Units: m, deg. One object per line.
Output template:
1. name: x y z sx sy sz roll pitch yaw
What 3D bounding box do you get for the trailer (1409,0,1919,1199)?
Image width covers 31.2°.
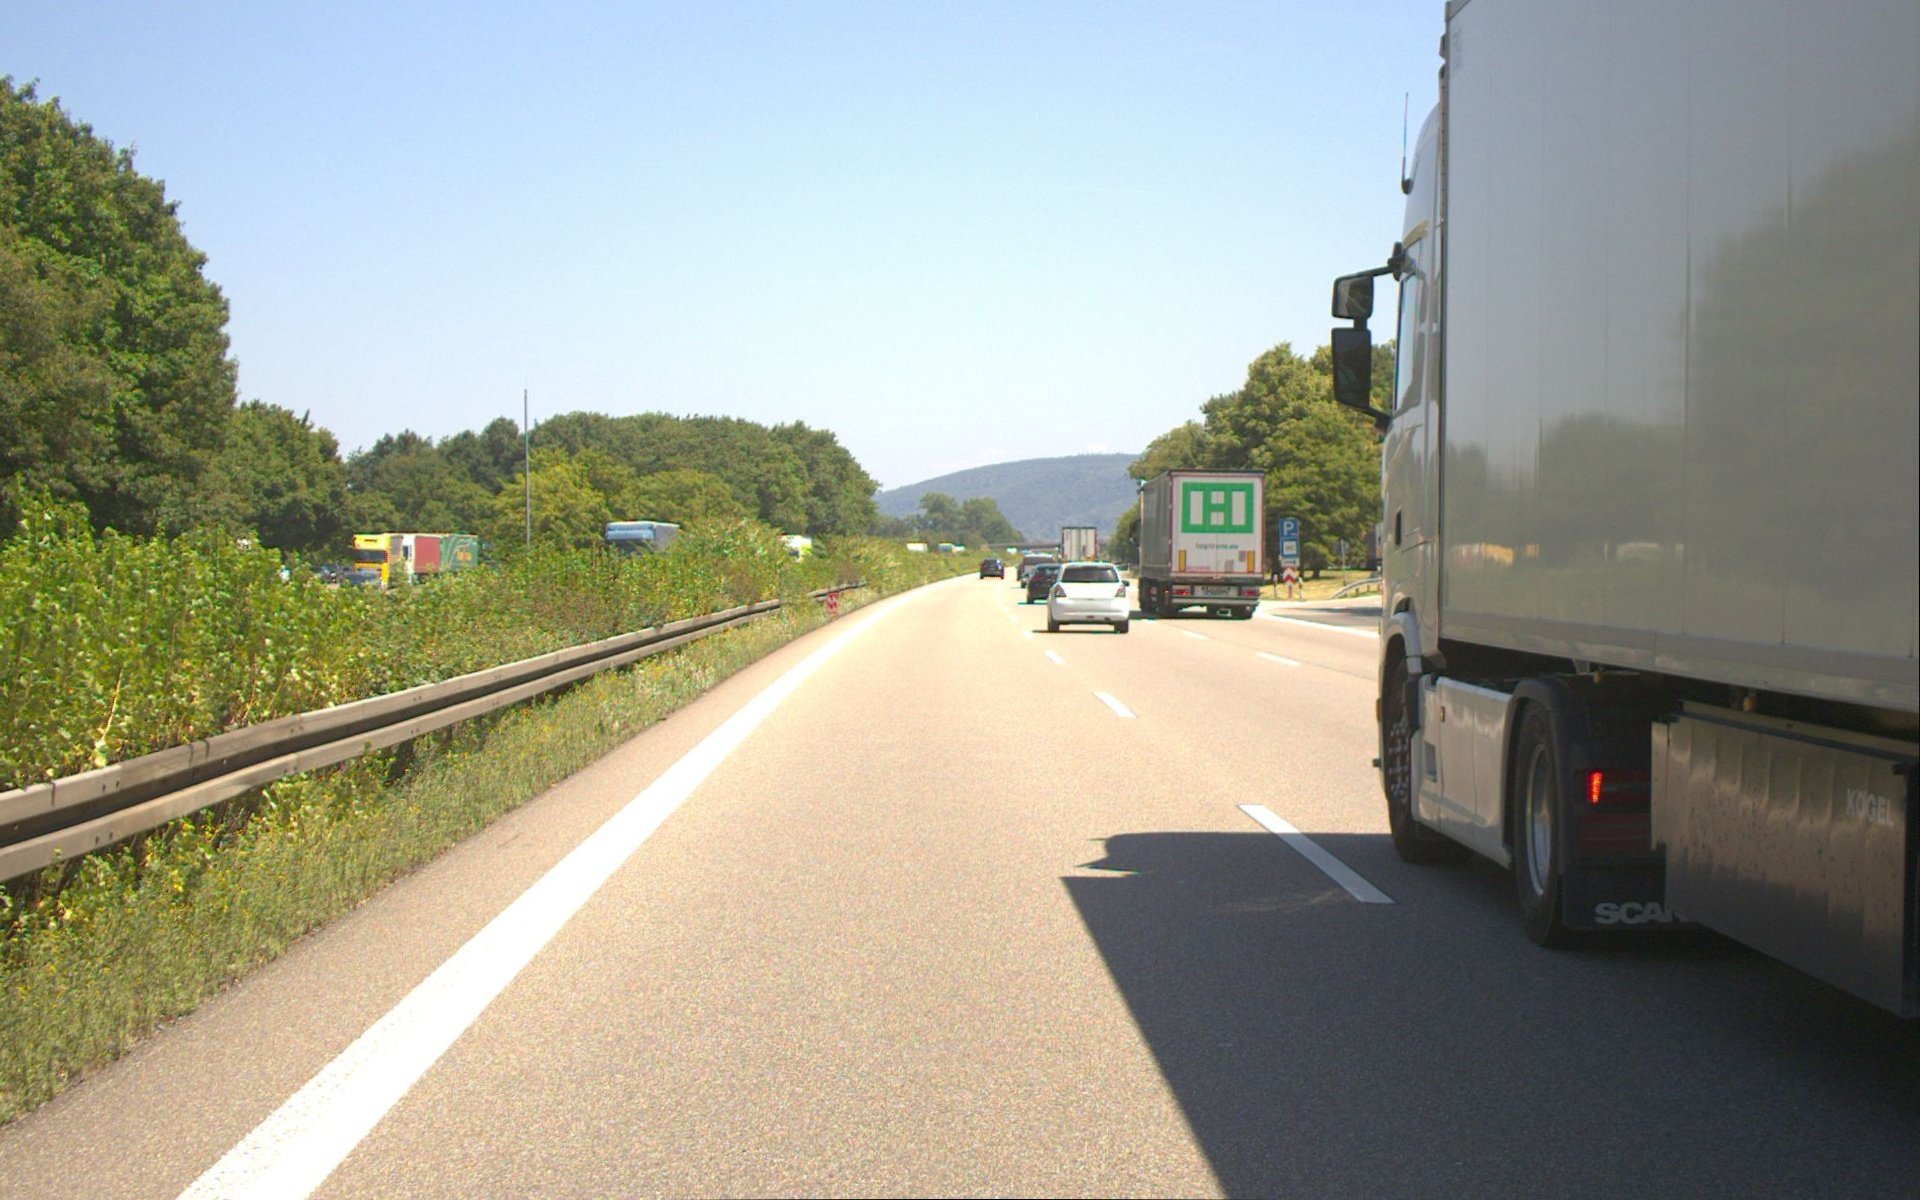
1. trailer: 3.638 -0.622 8.756 3.223 4.129 12.352 0 1 -1

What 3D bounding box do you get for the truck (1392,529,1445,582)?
1. truck: 25.980 -2.511 195.080 2.468 2.936 7.658 0 1 4

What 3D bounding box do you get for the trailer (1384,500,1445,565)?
1. trailer: 28.218 -4.137 213.035 3.185 3.921 11.545 0 1 10

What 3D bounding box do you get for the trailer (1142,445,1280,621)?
1. trailer: 6.945 -1.844 96.707 3.182 4.611 12.050 0 1 1

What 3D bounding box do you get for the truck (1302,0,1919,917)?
1. truck: 3.542 -0.783 16.782 3.228 4.143 4.560 0 1 -1

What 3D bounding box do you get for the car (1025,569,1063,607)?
1. car: 4.600 -0.653 188.863 1.882 2.007 4.000 -1 1 -1

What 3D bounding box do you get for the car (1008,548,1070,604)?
1. car: 2.774 -0.861 119.937 1.897 1.886 3.999 -1 1 4

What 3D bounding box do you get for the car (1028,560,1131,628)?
1. car: 2.562 -0.143 74.278 1.811 1.400 3.318 0 1 -5
